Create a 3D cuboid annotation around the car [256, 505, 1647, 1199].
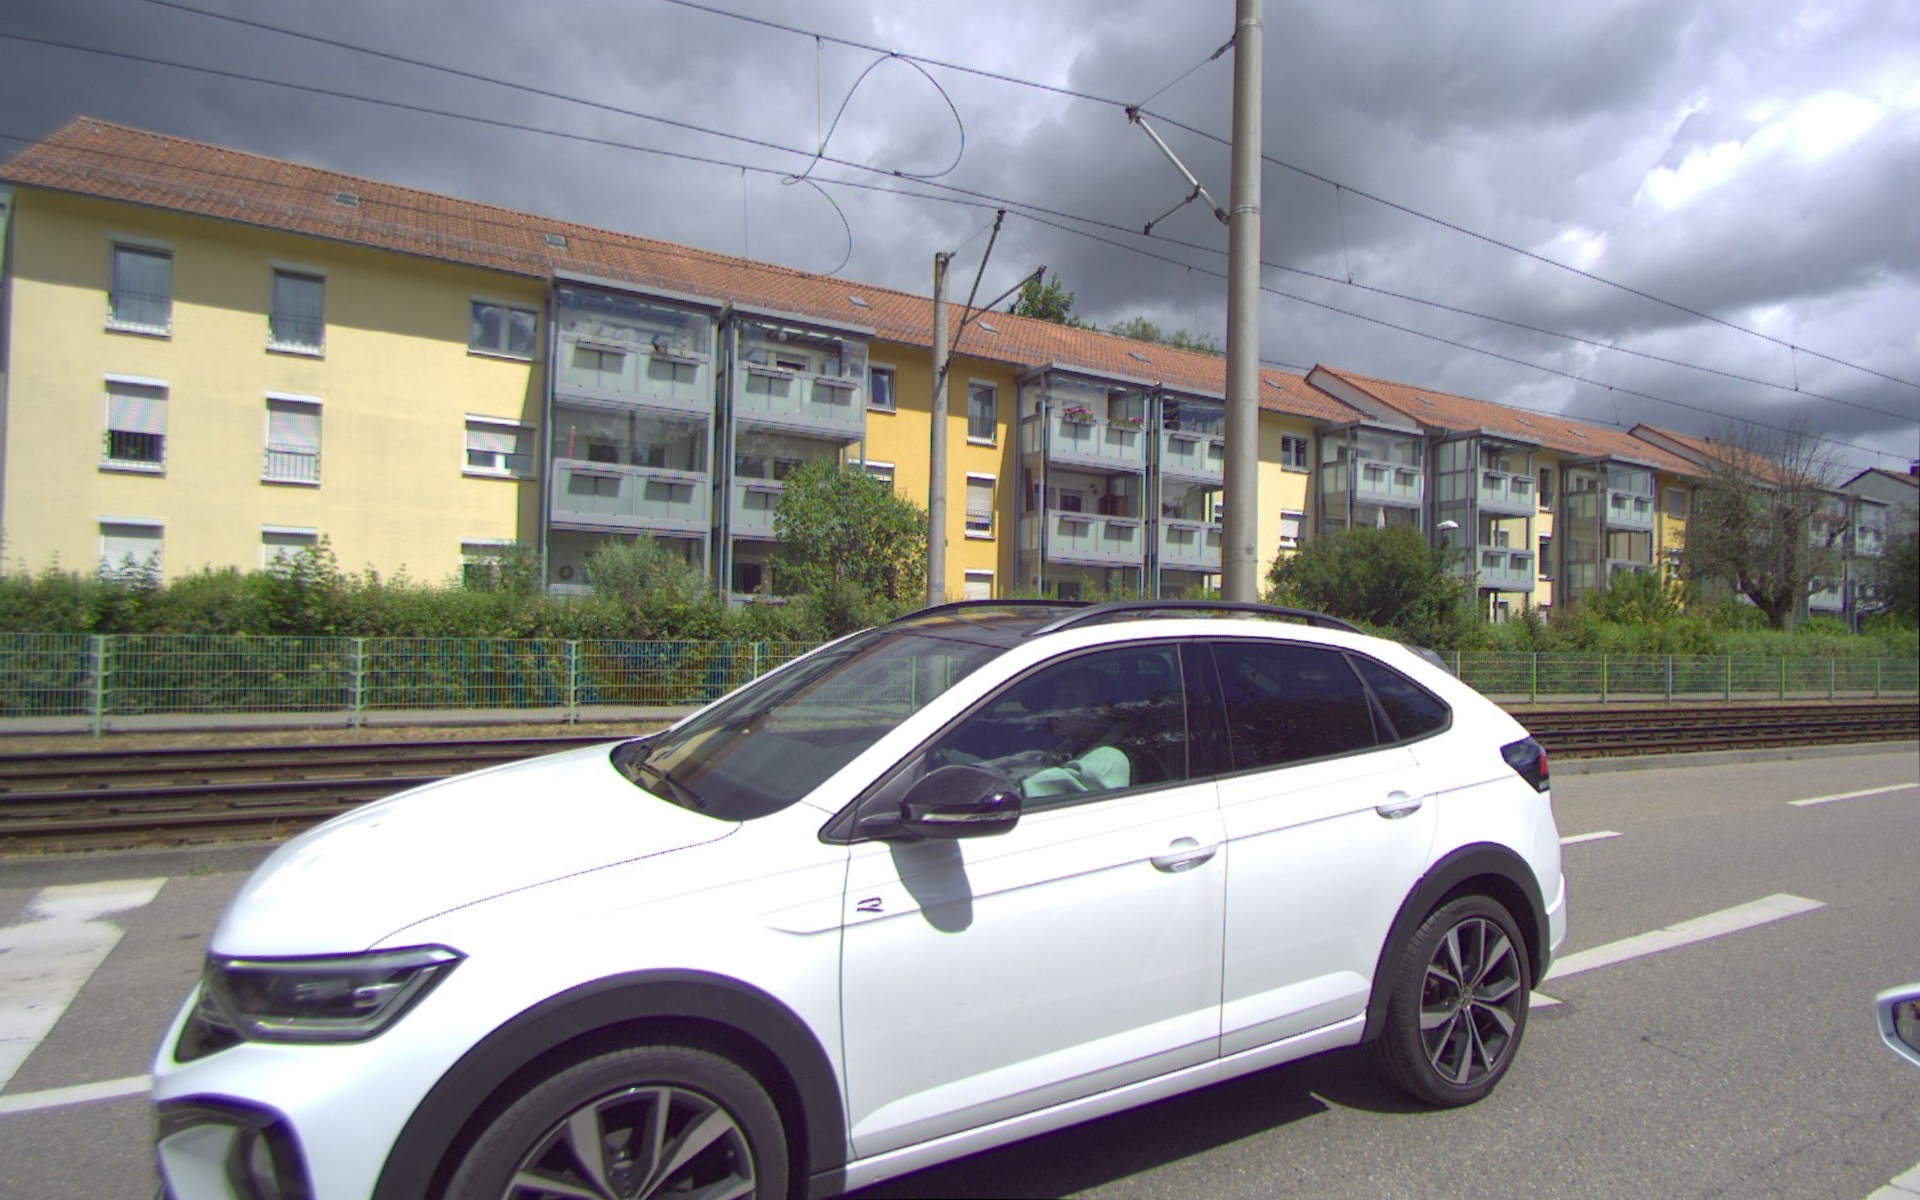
[{"bbox_3d":[0.234,0.720,3.285,3.952,1.572,1.752,3,-1,-29],"label":"car"}]
